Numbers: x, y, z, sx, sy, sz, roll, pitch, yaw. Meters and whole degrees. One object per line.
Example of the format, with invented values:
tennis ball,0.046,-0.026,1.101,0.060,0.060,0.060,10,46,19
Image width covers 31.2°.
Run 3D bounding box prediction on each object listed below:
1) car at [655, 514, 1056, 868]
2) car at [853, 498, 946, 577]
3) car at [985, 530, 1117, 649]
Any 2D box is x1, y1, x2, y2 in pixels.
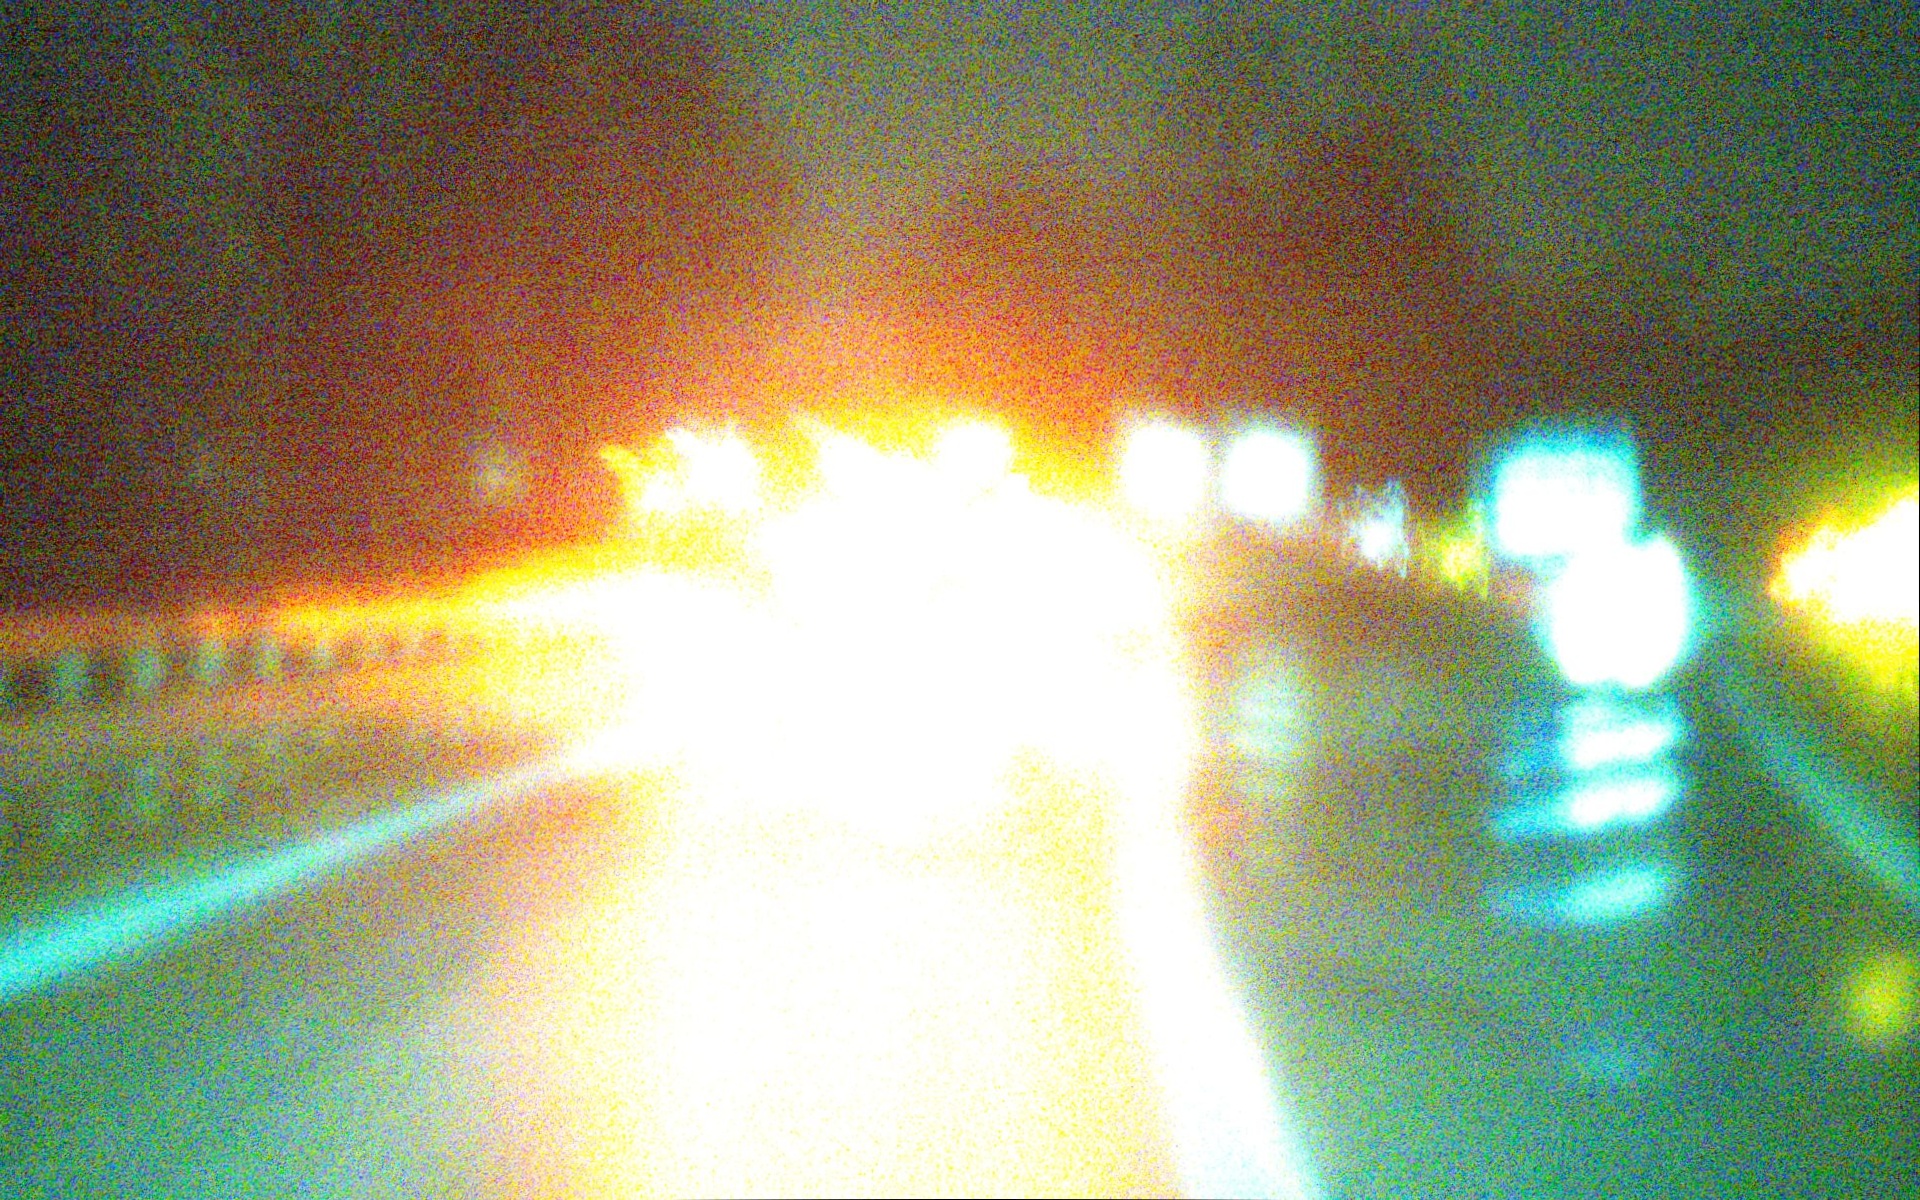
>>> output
car,-0.503,0.400,18.069,1.860,1.641,4.069,0,1,0
car,-1.604,-1.615,89.550,1.895,1.991,4.046,0,0,-8
car,1.381,-0.145,51.547,1.895,1.715,4.045,0,0,2
